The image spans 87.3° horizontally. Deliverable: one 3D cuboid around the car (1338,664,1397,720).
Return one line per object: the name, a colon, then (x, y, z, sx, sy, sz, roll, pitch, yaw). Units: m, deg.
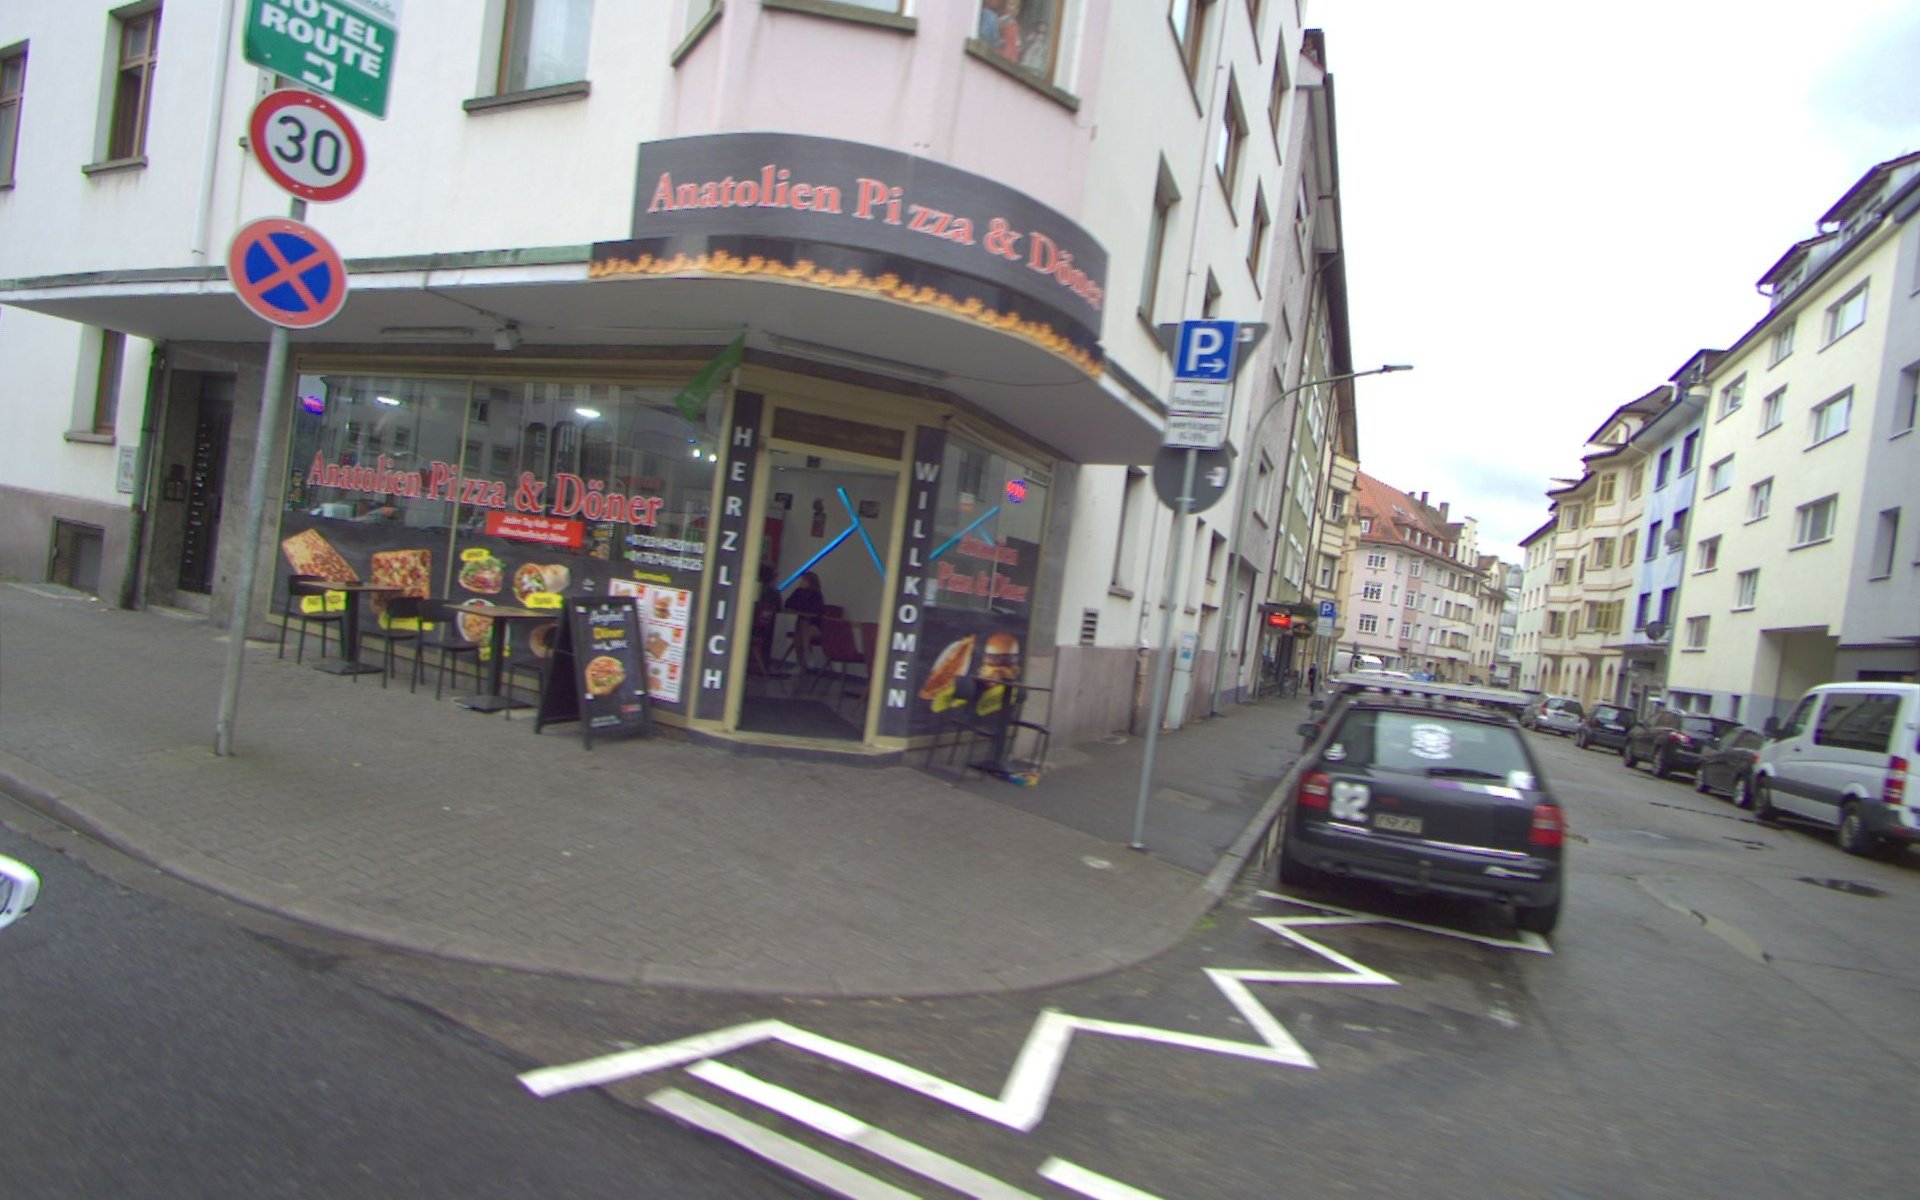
car: (14.262, 3.198, 35.311, 1.635, 1.610, 3.753, 8, 0, 22)

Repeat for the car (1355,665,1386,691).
car: (30.575, 5.826, 75.041, 1.874, 1.598, 3.902, 8, 0, 22)

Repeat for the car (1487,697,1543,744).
car: (29.416, 6.335, 53.411, 1.874, 2.014, 3.902, 8, 0, 22)

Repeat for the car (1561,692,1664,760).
car: (21.380, 4.076, 33.126, 1.874, 1.711, 3.902, 8, 0, 22)

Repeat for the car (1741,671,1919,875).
car: (13.202, 2.362, 14.143, 1.979, 2.433, 4.737, 8, 0, 22)

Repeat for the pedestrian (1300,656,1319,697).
pedestrian: (14.999, 3.288, 43.189, 0.513, 1.662, 0.500, 8, -1, 19)

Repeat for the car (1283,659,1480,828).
car: (5.493, 1.720, 13.339, 1.838, 1.551, 4.633, 8, 0, 22)

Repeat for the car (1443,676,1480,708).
car: (38.302, 7.050, 76.877, 1.963, 2.036, 4.003, 8, -2, 22)

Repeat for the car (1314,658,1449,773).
car: (7.709, 2.039, 18.582, 1.874, 1.598, 3.902, 8, 0, 22)

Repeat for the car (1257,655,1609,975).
car: (3.587, 1.374, 8.059, 1.773, 1.627, 4.119, 7, 0, 22)

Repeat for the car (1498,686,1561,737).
car: (27.190, 5.277, 48.155, 1.874, 2.014, 3.902, 8, 0, 22)

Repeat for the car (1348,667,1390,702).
car: (22.610, 4.659, 55.653, 1.874, 1.598, 3.902, 8, 0, 22)

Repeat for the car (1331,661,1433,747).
car: (10.011, 2.412, 24.013, 1.874, 1.598, 3.902, 8, 0, 22)

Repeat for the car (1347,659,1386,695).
car: (26.948, 5.083, 66.779, 1.963, 2.038, 4.000, 9, 0, 20)

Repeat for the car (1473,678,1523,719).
car: (32.572, 5.928, 60.966, 1.963, 2.038, 3.999, 9, 0, 22)

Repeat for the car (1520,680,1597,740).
car: (24.461, 4.432, 41.245, 1.874, 2.014, 3.902, 8, 0, 22)

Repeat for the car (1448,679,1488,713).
car: (35.629, 6.762, 70.640, 1.963, 2.036, 4.004, 8, -2, 22)

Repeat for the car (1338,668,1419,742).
car: (12.441, 3.058, 30.075, 1.874, 1.760, 3.902, 8, 0, 22)

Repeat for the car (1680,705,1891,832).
car: (15.378, 3.054, 18.994, 1.874, 1.711, 3.558, 8, 0, 22)

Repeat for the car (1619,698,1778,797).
car: (17.154, 3.345, 23.607, 1.874, 1.711, 3.902, 8, 0, 22)
